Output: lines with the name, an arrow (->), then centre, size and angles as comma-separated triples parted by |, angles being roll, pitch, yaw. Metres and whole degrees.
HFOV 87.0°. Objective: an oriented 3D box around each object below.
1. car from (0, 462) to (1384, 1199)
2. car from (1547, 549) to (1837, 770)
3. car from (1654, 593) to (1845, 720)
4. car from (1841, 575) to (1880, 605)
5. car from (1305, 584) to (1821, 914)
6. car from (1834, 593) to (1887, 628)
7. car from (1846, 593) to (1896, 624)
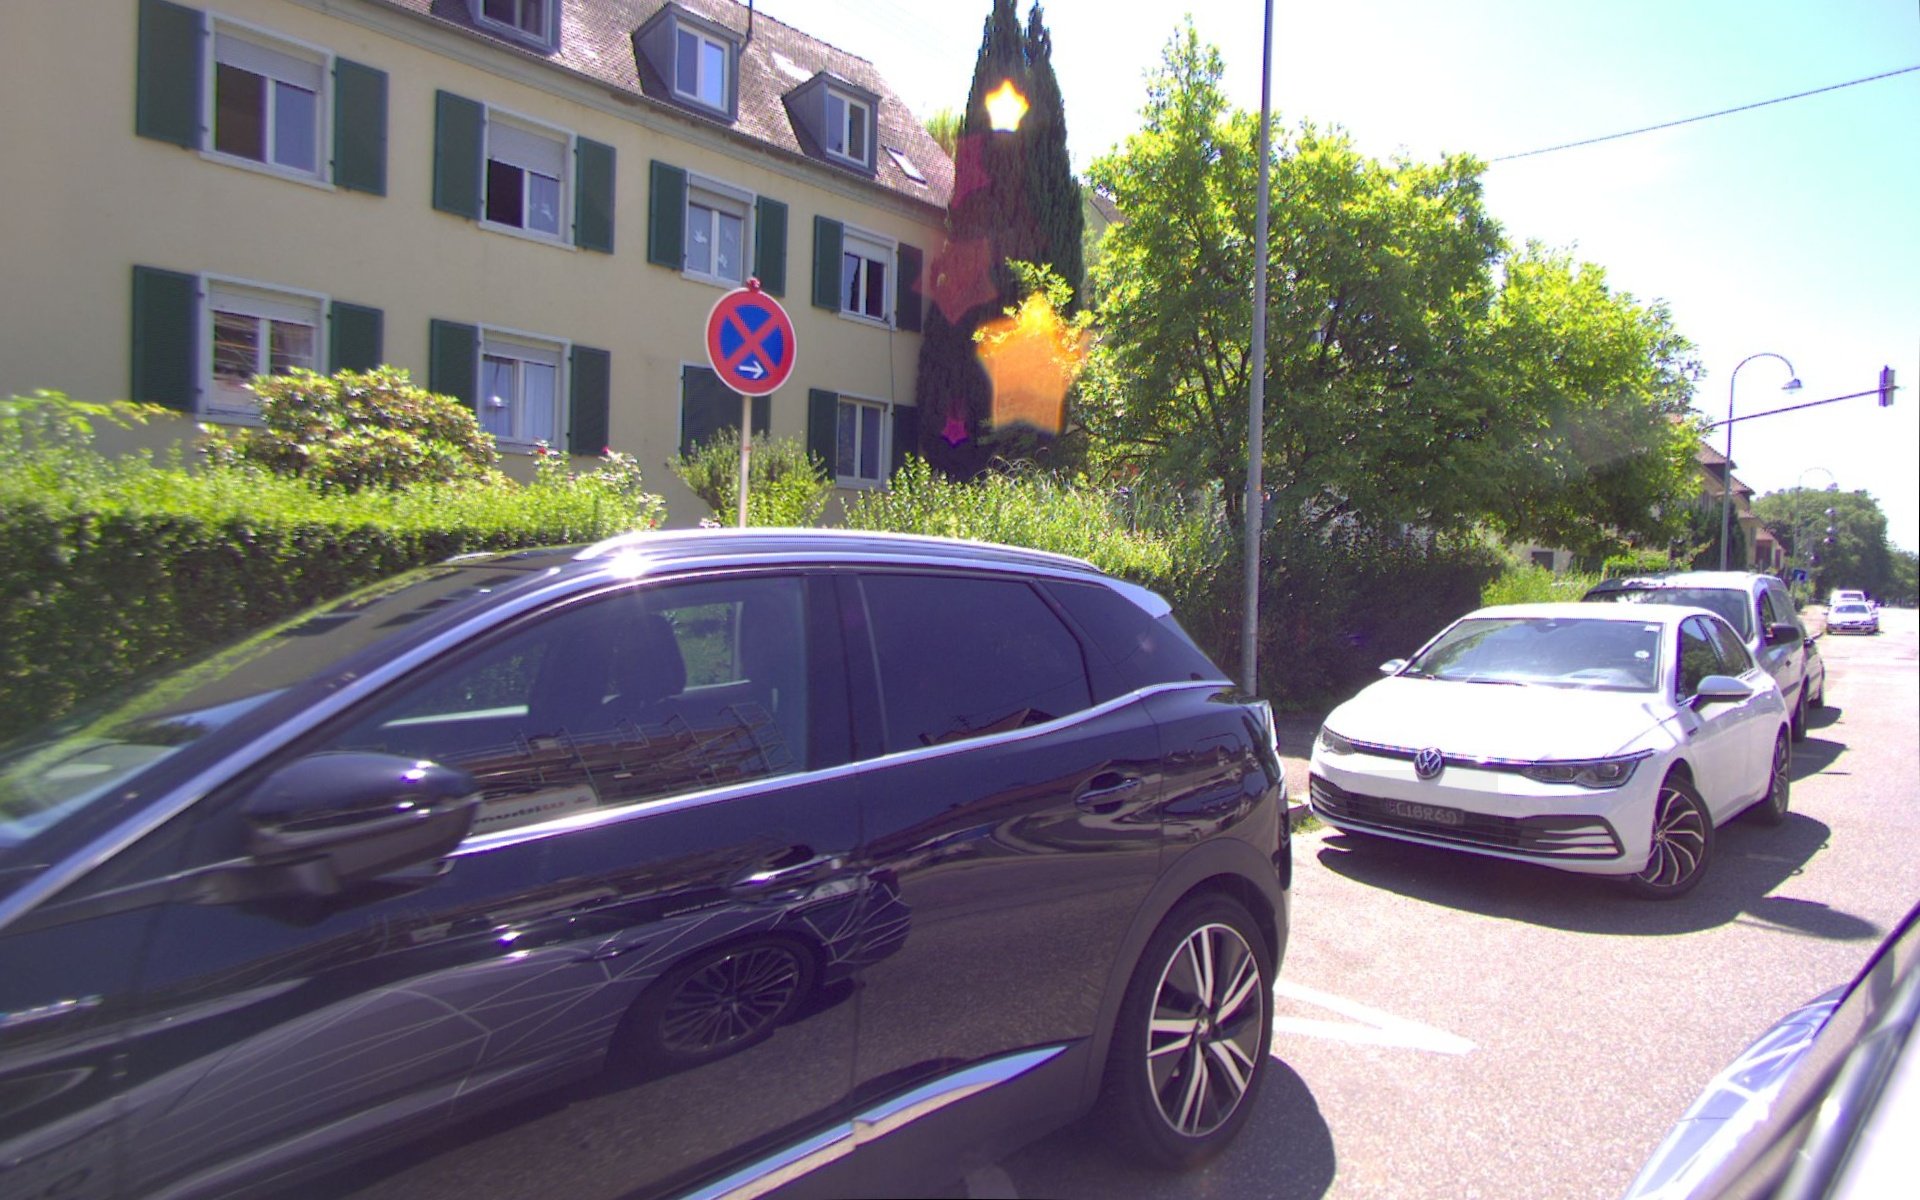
car -> -0.839, 0.625, 2.343 | 4.129, 1.558, 1.665 | 0, 0, -40
car -> 7.633, 0.492, 10.391 | 4.133, 1.826, 1.663 | 0, -1, -44
car -> 10.926, 0.670, 13.901 | 1.628, 1.482, 3.952 | -2, -1, 44
car -> 59.223, -0.668, 66.613 | 1.845, 1.892, 4.621 | 0, 0, 41
car -> 4.029, 0.660, 6.457 | 4.057, 1.454, 1.664 | 0, -1, -42
car -> 40.330, 0.436, 45.385 | 1.664, 1.484, 3.942 | 0, 1, 40
car -> 44.021, 0.398, 48.950 | 1.665, 1.453, 3.941 | -1, 0, 41
